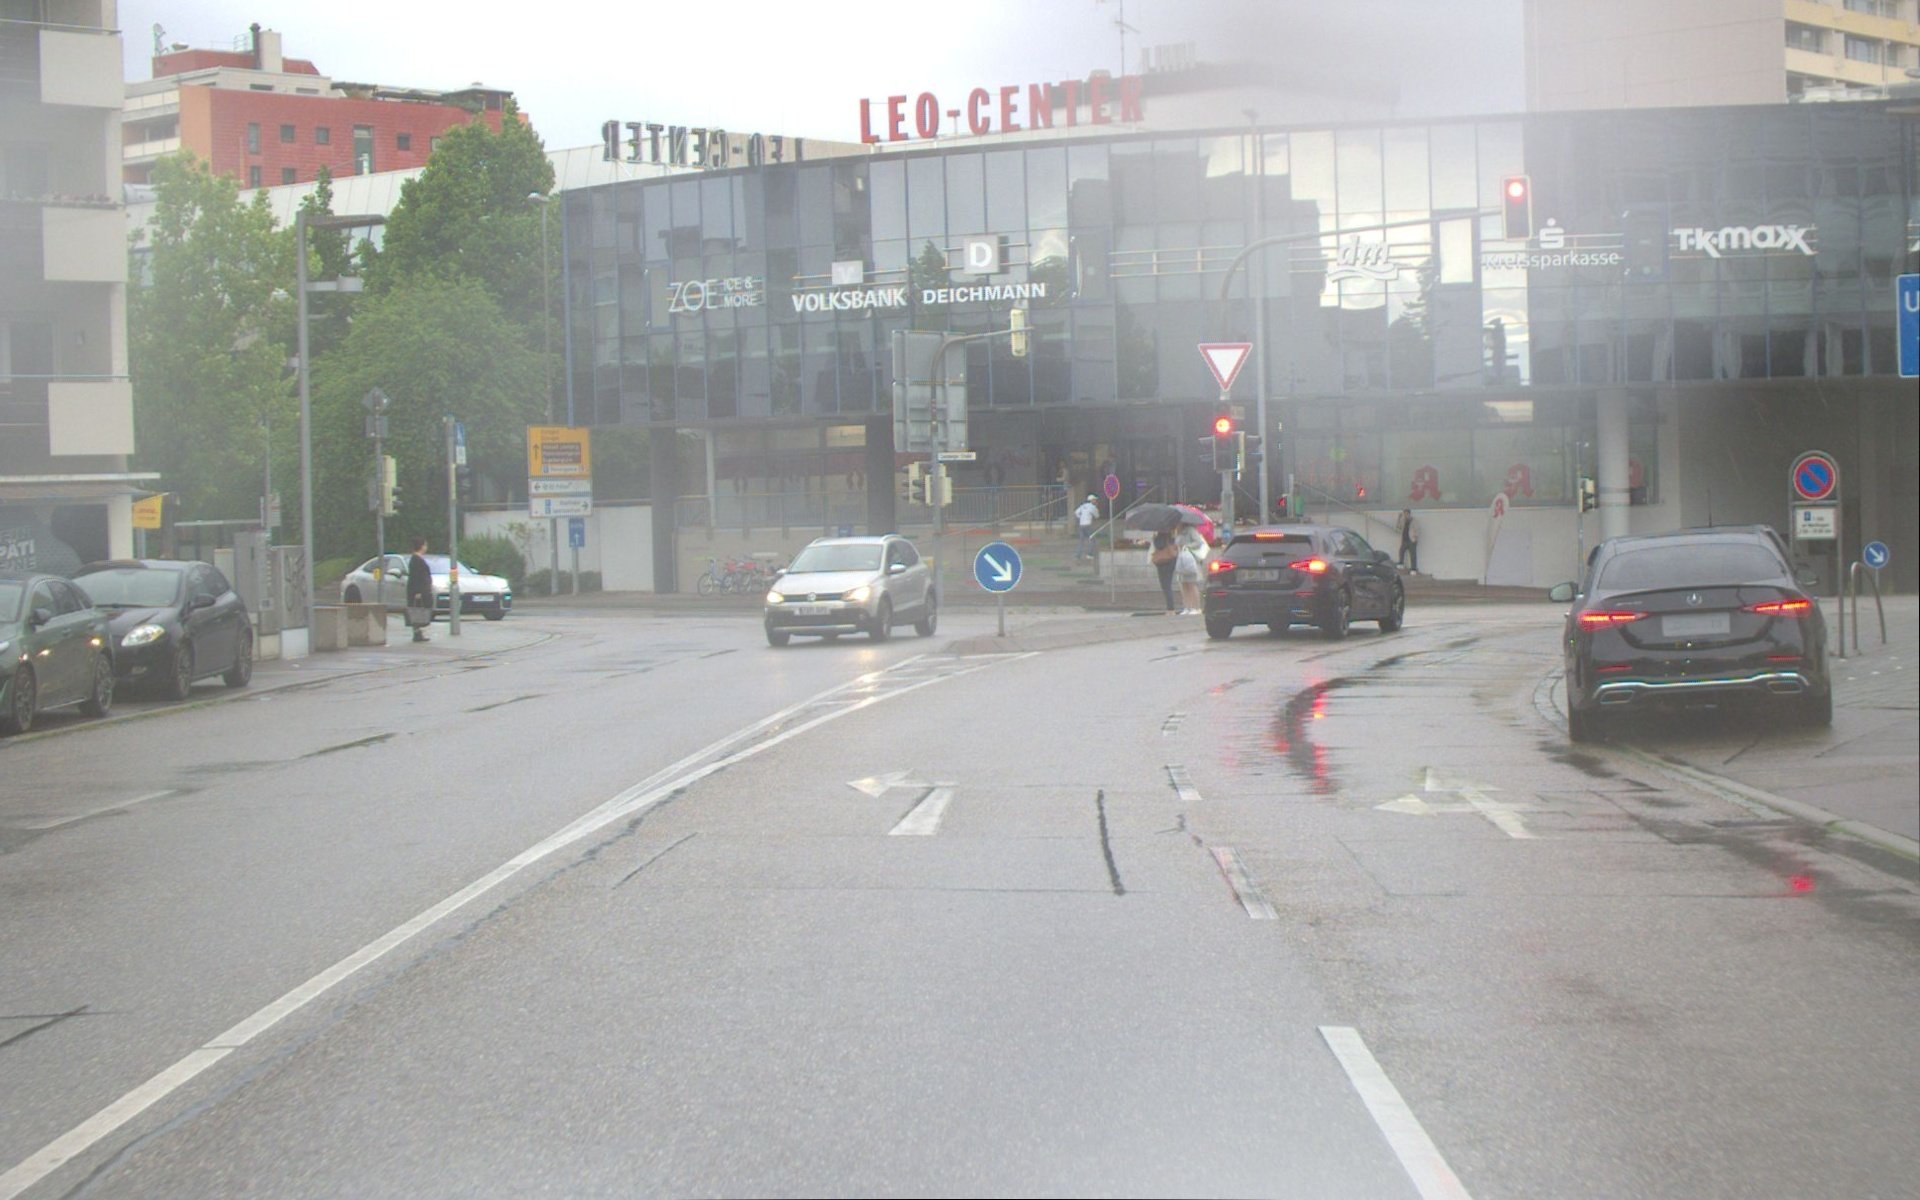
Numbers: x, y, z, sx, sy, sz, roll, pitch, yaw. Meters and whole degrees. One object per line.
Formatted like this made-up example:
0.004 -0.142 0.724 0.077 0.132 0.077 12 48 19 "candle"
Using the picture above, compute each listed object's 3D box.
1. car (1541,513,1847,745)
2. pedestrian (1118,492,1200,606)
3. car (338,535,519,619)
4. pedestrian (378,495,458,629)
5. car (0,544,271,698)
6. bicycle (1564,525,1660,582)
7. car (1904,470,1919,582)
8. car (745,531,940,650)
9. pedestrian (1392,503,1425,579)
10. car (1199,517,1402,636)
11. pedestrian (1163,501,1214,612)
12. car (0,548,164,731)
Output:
5.335 0.182 25.175 1.994 1.528 4.645 0 0 11 "car"
2.987 -0.771 51.700 0.908 1.653 0.755 1 3 -26 "pedestrian"
-11.382 -0.505 73.393 1.994 1.506 4.433 1 3 -36 "car"
-8.308 -0.585 52.730 0.749 2.006 0.920 3 1 23 "pedestrian"
-9.051 0.183 37.819 1.934 1.536 4.273 -1 1 2 "car"
17.441 -1.238 91.950 2.424 1.459 0.656 -1 3 0 "bicycle"
19.127 -1.341 61.276 1.994 2.007 3.998 -2 2 -41 "car"
-1.601 -0.162 48.434 1.826 1.434 3.839 -3 2 12 "car"
12.111 -1.591 92.782 0.788 2.007 0.670 -1 1 12 "pedestrian"
4.472 -0.333 44.714 1.806 1.414 3.997 -1 1 18 "car"
3.487 -0.667 52.509 0.609 1.653 0.672 2 2 -3 "pedestrian"
-9.014 0.322 32.135 1.934 1.536 4.521 -1 1 2 "car"
